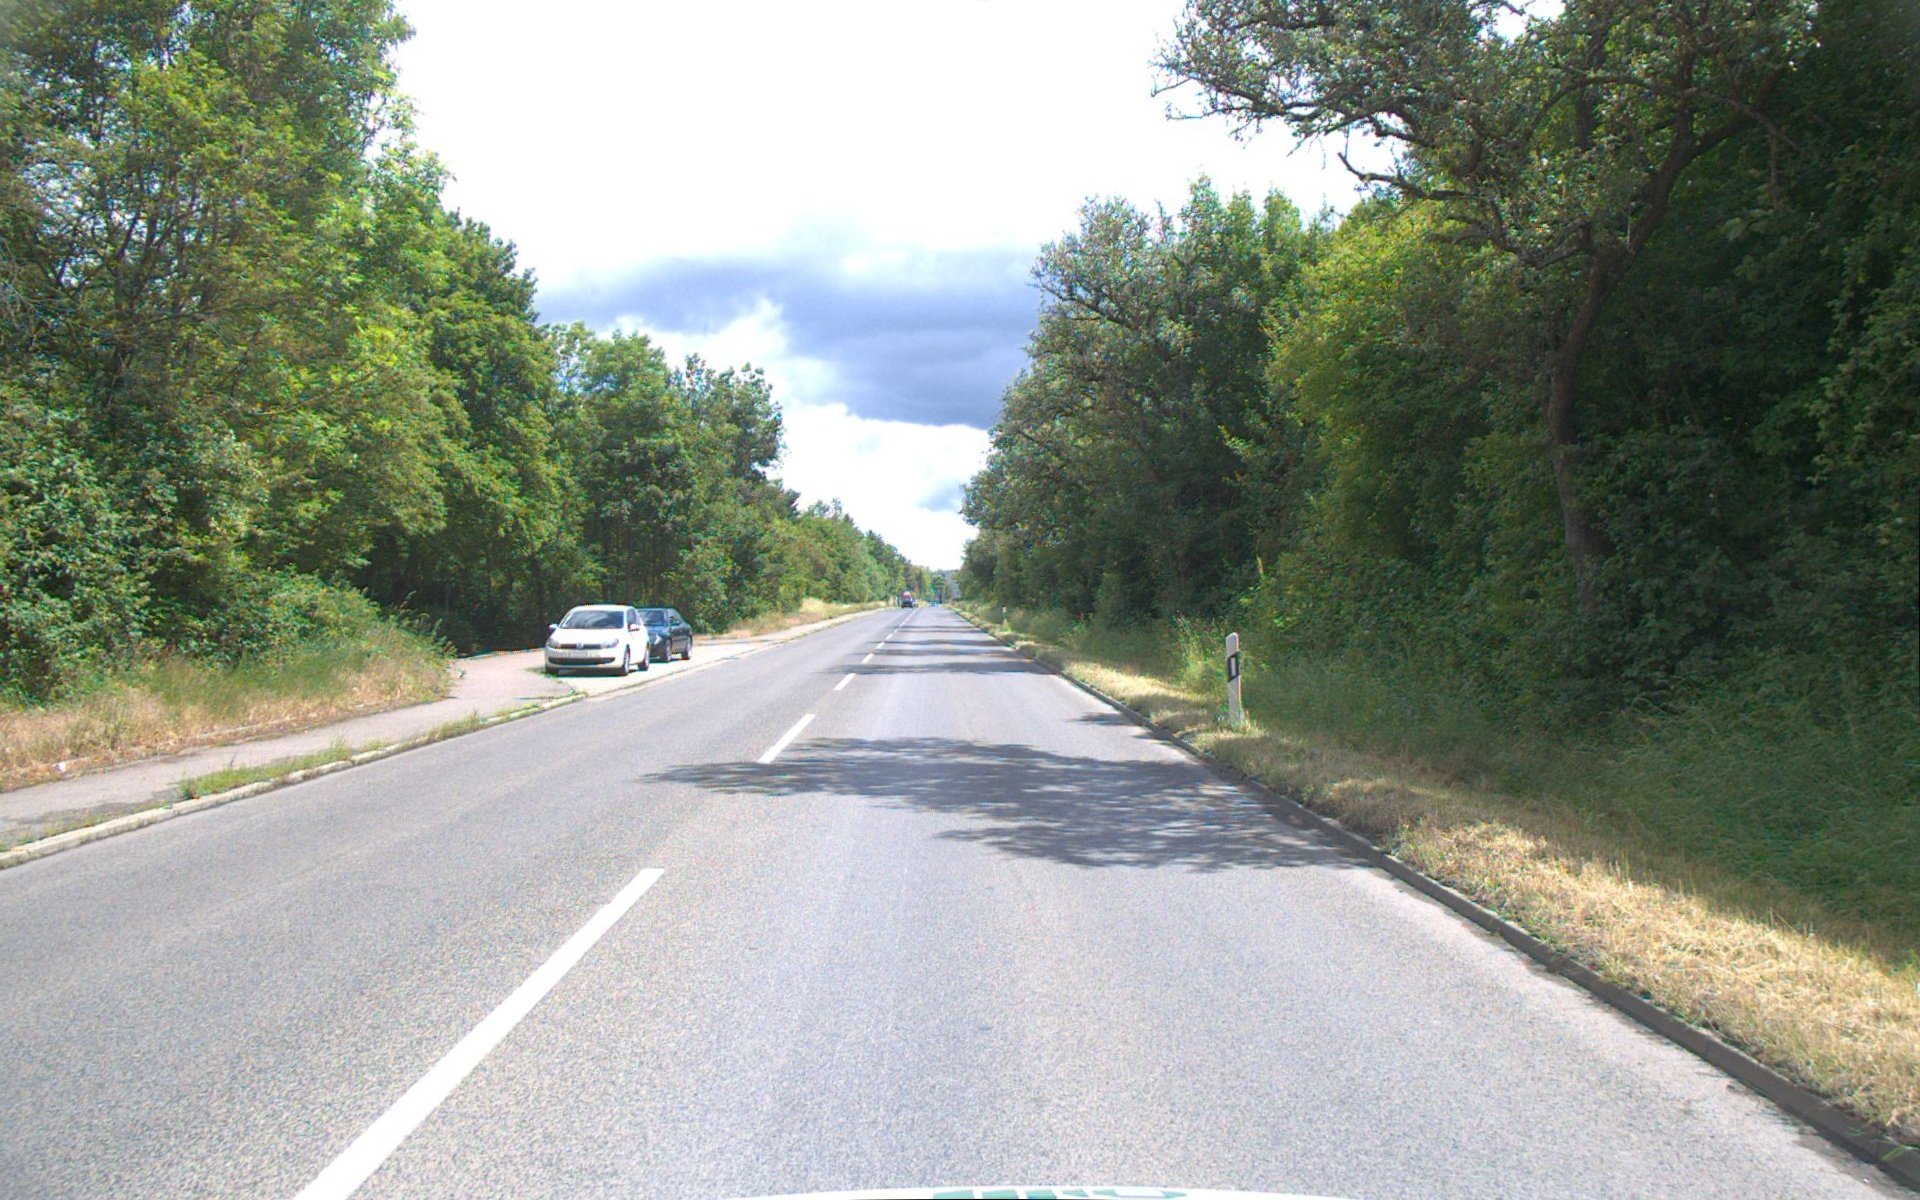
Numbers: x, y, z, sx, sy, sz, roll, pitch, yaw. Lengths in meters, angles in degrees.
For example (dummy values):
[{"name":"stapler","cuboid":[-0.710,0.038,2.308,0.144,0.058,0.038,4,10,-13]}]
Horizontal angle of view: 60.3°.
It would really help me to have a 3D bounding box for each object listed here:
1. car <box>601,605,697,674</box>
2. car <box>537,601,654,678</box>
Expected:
[{"name":"car","cuboid":[-8.214,1.009,43.992,1.761,1.653,3.955,-1,1,0]},{"name":"car","cuboid":[-7.966,0.862,36.469,1.762,1.570,3.953,-1,-1,-1]}]
